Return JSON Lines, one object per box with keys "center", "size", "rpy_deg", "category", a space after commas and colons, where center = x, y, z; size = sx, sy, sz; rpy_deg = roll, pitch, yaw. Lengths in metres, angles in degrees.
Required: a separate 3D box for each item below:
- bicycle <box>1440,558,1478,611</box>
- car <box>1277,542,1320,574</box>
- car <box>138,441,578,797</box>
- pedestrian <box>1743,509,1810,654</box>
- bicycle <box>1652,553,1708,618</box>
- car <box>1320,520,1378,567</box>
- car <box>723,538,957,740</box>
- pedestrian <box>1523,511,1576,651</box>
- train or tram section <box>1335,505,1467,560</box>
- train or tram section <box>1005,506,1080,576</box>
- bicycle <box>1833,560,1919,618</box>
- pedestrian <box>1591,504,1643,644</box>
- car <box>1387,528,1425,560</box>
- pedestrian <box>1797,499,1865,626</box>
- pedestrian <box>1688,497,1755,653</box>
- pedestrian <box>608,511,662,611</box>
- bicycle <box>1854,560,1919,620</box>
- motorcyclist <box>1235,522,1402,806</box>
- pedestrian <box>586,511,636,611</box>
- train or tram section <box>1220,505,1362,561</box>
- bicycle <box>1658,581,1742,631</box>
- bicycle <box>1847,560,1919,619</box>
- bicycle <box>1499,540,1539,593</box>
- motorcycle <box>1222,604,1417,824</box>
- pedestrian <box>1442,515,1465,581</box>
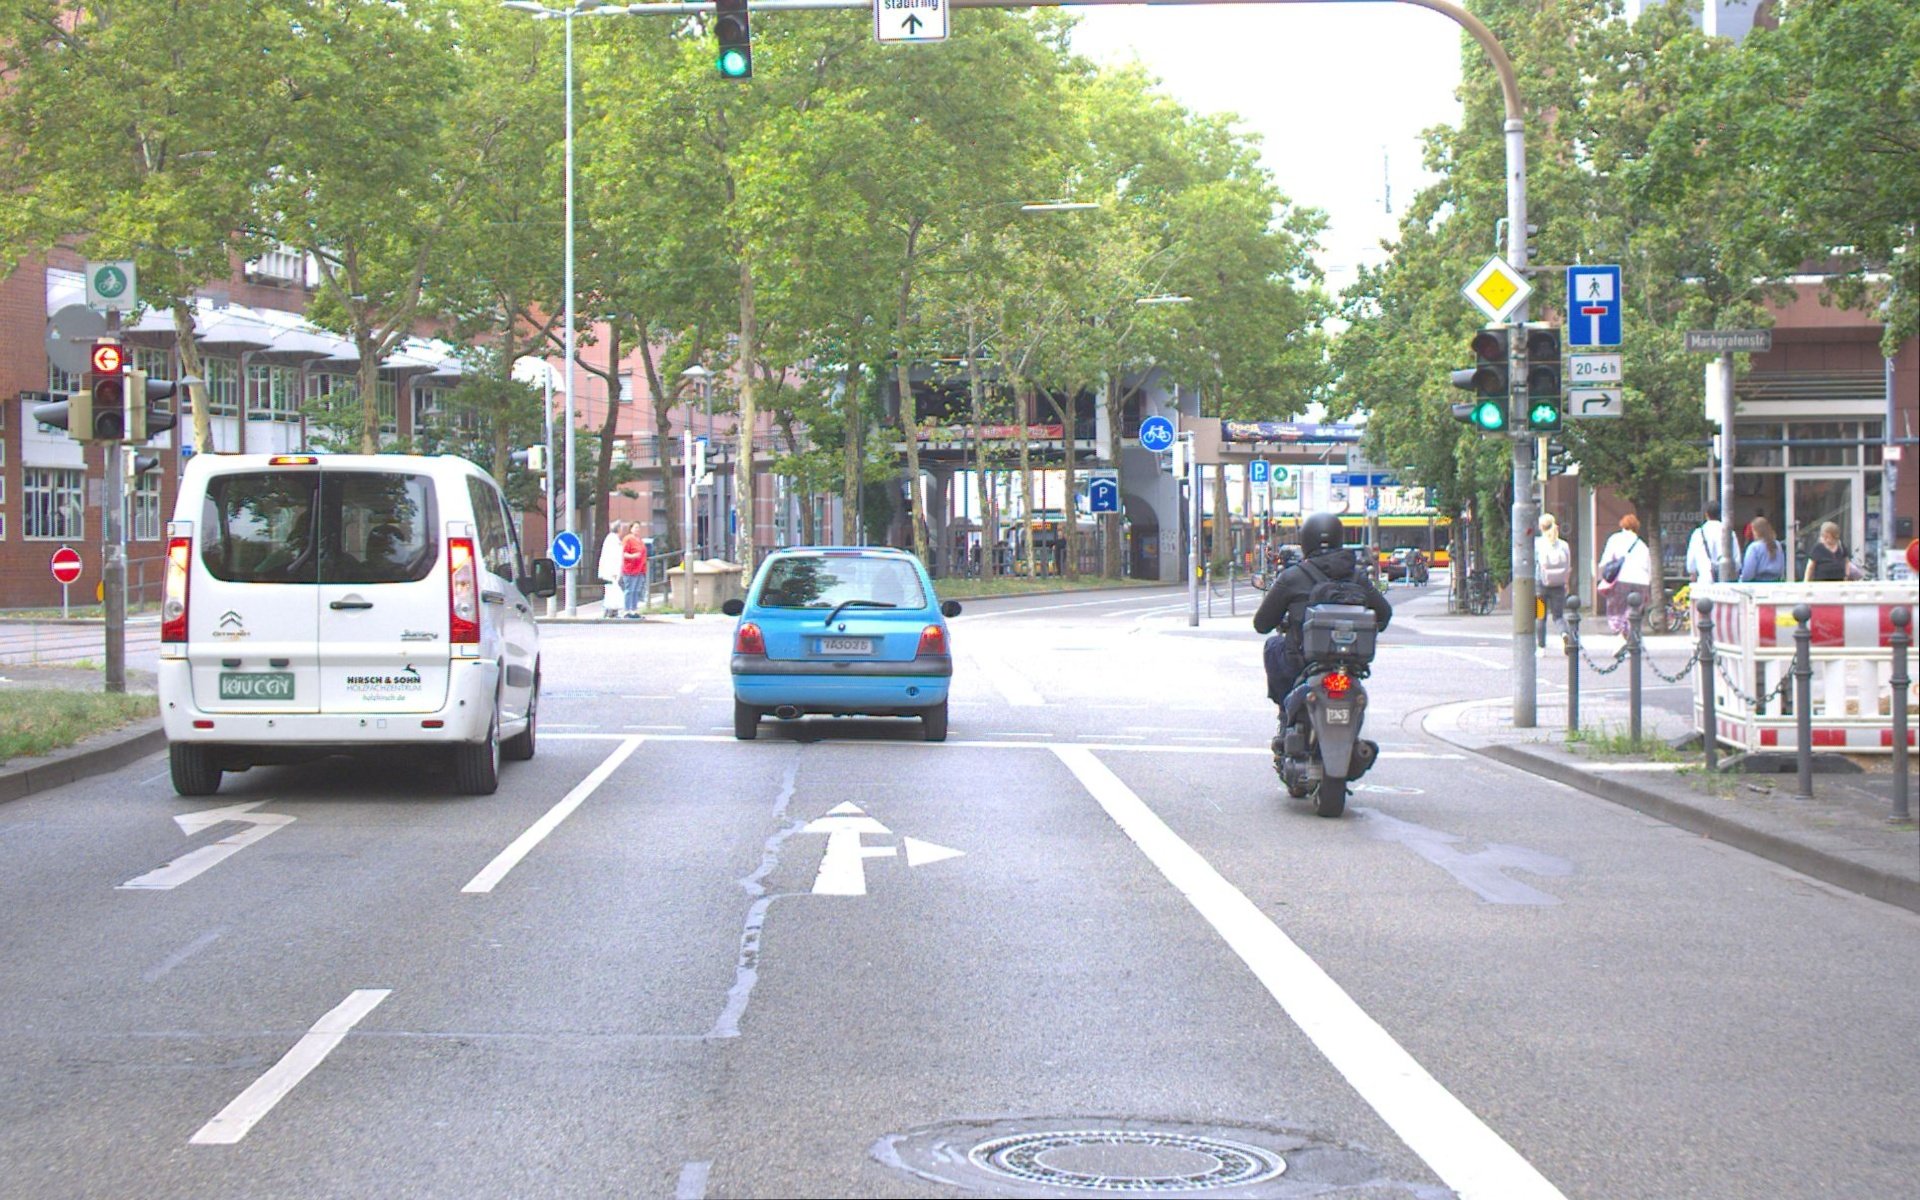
{"center": [9.677, -0.307, 66.725], "size": [0.617, 1.005, 1.735], "rpy_deg": [0, 1, 4], "category": "bicycle"}
{"center": [17.441, -2.185, 176.895], "size": [1.887, 1.618, 3.998], "rpy_deg": [0, 1, 11], "category": "car"}
{"center": [-3.532, 0.031, 21.105], "size": [1.931, 1.919, 4.956], "rpy_deg": [0, 2, -1], "category": "car"}
{"center": [9.663, -0.229, 40.710], "size": [0.652, 1.695, 1.022], "rpy_deg": [0, 1, 7], "category": "pedestrian"}
{"center": [11.518, -0.242, 55.041], "size": [0.617, 1.005, 1.735], "rpy_deg": [0, 1, 3], "category": "bicycle"}
{"center": [13.308, -1.942, 117.453], "size": [1.699, 1.596, 3.998], "rpy_deg": [0, 1, 11], "category": "car"}
{"center": [-0.875, 0.239, 26.123], "size": [1.640, 1.381, 3.843], "rpy_deg": [0, 1, -1], "category": "car"}
{"center": [6.850, -0.228, 39.947], "size": [0.517, 1.610, 0.851], "rpy_deg": [0, 1, 4], "category": "pedestrian"}
{"center": [26.543, -4.057, 206.802], "size": [8.333, 3.242, 2.397], "rpy_deg": [-1, 1, -34], "category": "train or tram section"}
{"center": [3.979, -2.804, 164.097], "size": [2.390, 3.242, 8.815], "rpy_deg": [0, 1, 9], "category": "train or tram section"}
{"center": [16.108, -0.196, 59.844], "size": [1.730, 1.005, 0.437], "rpy_deg": [0, 1, 6], "category": "bicycle"}
{"center": [7.620, -0.304, 39.888], "size": [0.517, 1.610, 0.850], "rpy_deg": [0, 1, 5], "category": "pedestrian"}
{"center": [22.579, -2.815, 173.931], "size": [1.699, 1.596, 3.998], "rpy_deg": [0, 1, 11], "category": "car"}
{"center": [10.601, -0.461, 41.871], "size": [0.676, 1.533, 0.947], "rpy_deg": [0, 1, 6], "category": "pedestrian"}
{"center": [8.970, -0.303, 40.523], "size": [0.676, 1.822, 0.850], "rpy_deg": [0, 1, 5], "category": "pedestrian"}
{"center": [-5.651, -0.679, 59.768], "size": [0.553, 1.712, 0.889], "rpy_deg": [0, 1, 25], "category": "pedestrian"}
{"center": [16.080, -0.166, 58.309], "size": [1.730, 1.005, 0.424], "rpy_deg": [0, 1, 6], "category": "bicycle"}
{"center": [1.970, 0.336, 19.010], "size": [0.759, 1.514, 1.018], "rpy_deg": [-1, 1, -2], "category": "motorcyclist"}
{"center": [-5.975, -0.671, 58.864], "size": [0.553, 1.712, 0.890], "rpy_deg": [0, 1, 16], "category": "pedestrian"}
{"center": [19.500, -3.964, 202.057], "size": [8.790, 3.242, 2.397], "rpy_deg": [-1, 1, -34], "category": "train or tram section"}
{"center": [12.245, 0.100, 56.895], "size": [1.300, 0.811, 0.444], "rpy_deg": [0, 1, 21], "category": "bicycle"}
{"center": [16.094, -0.175, 58.799], "size": [1.730, 1.005, 0.478], "rpy_deg": [0, 1, 6], "category": "bicycle"}
{"center": [10.787, -0.657, 66.363], "size": [0.617, 1.005, 1.735], "rpy_deg": [0, 1, 4], "category": "bicycle"}
{"center": [1.965, 0.597, 19.091], "size": [0.767, 1.103, 2.208], "rpy_deg": [-1, 1, -2], "category": "motorcycle"}
{"center": [13.935, -1.461, 97.119], "size": [0.647, 1.852, 0.782], "rpy_deg": [0, 1, 9], "category": "pedestrian"}
